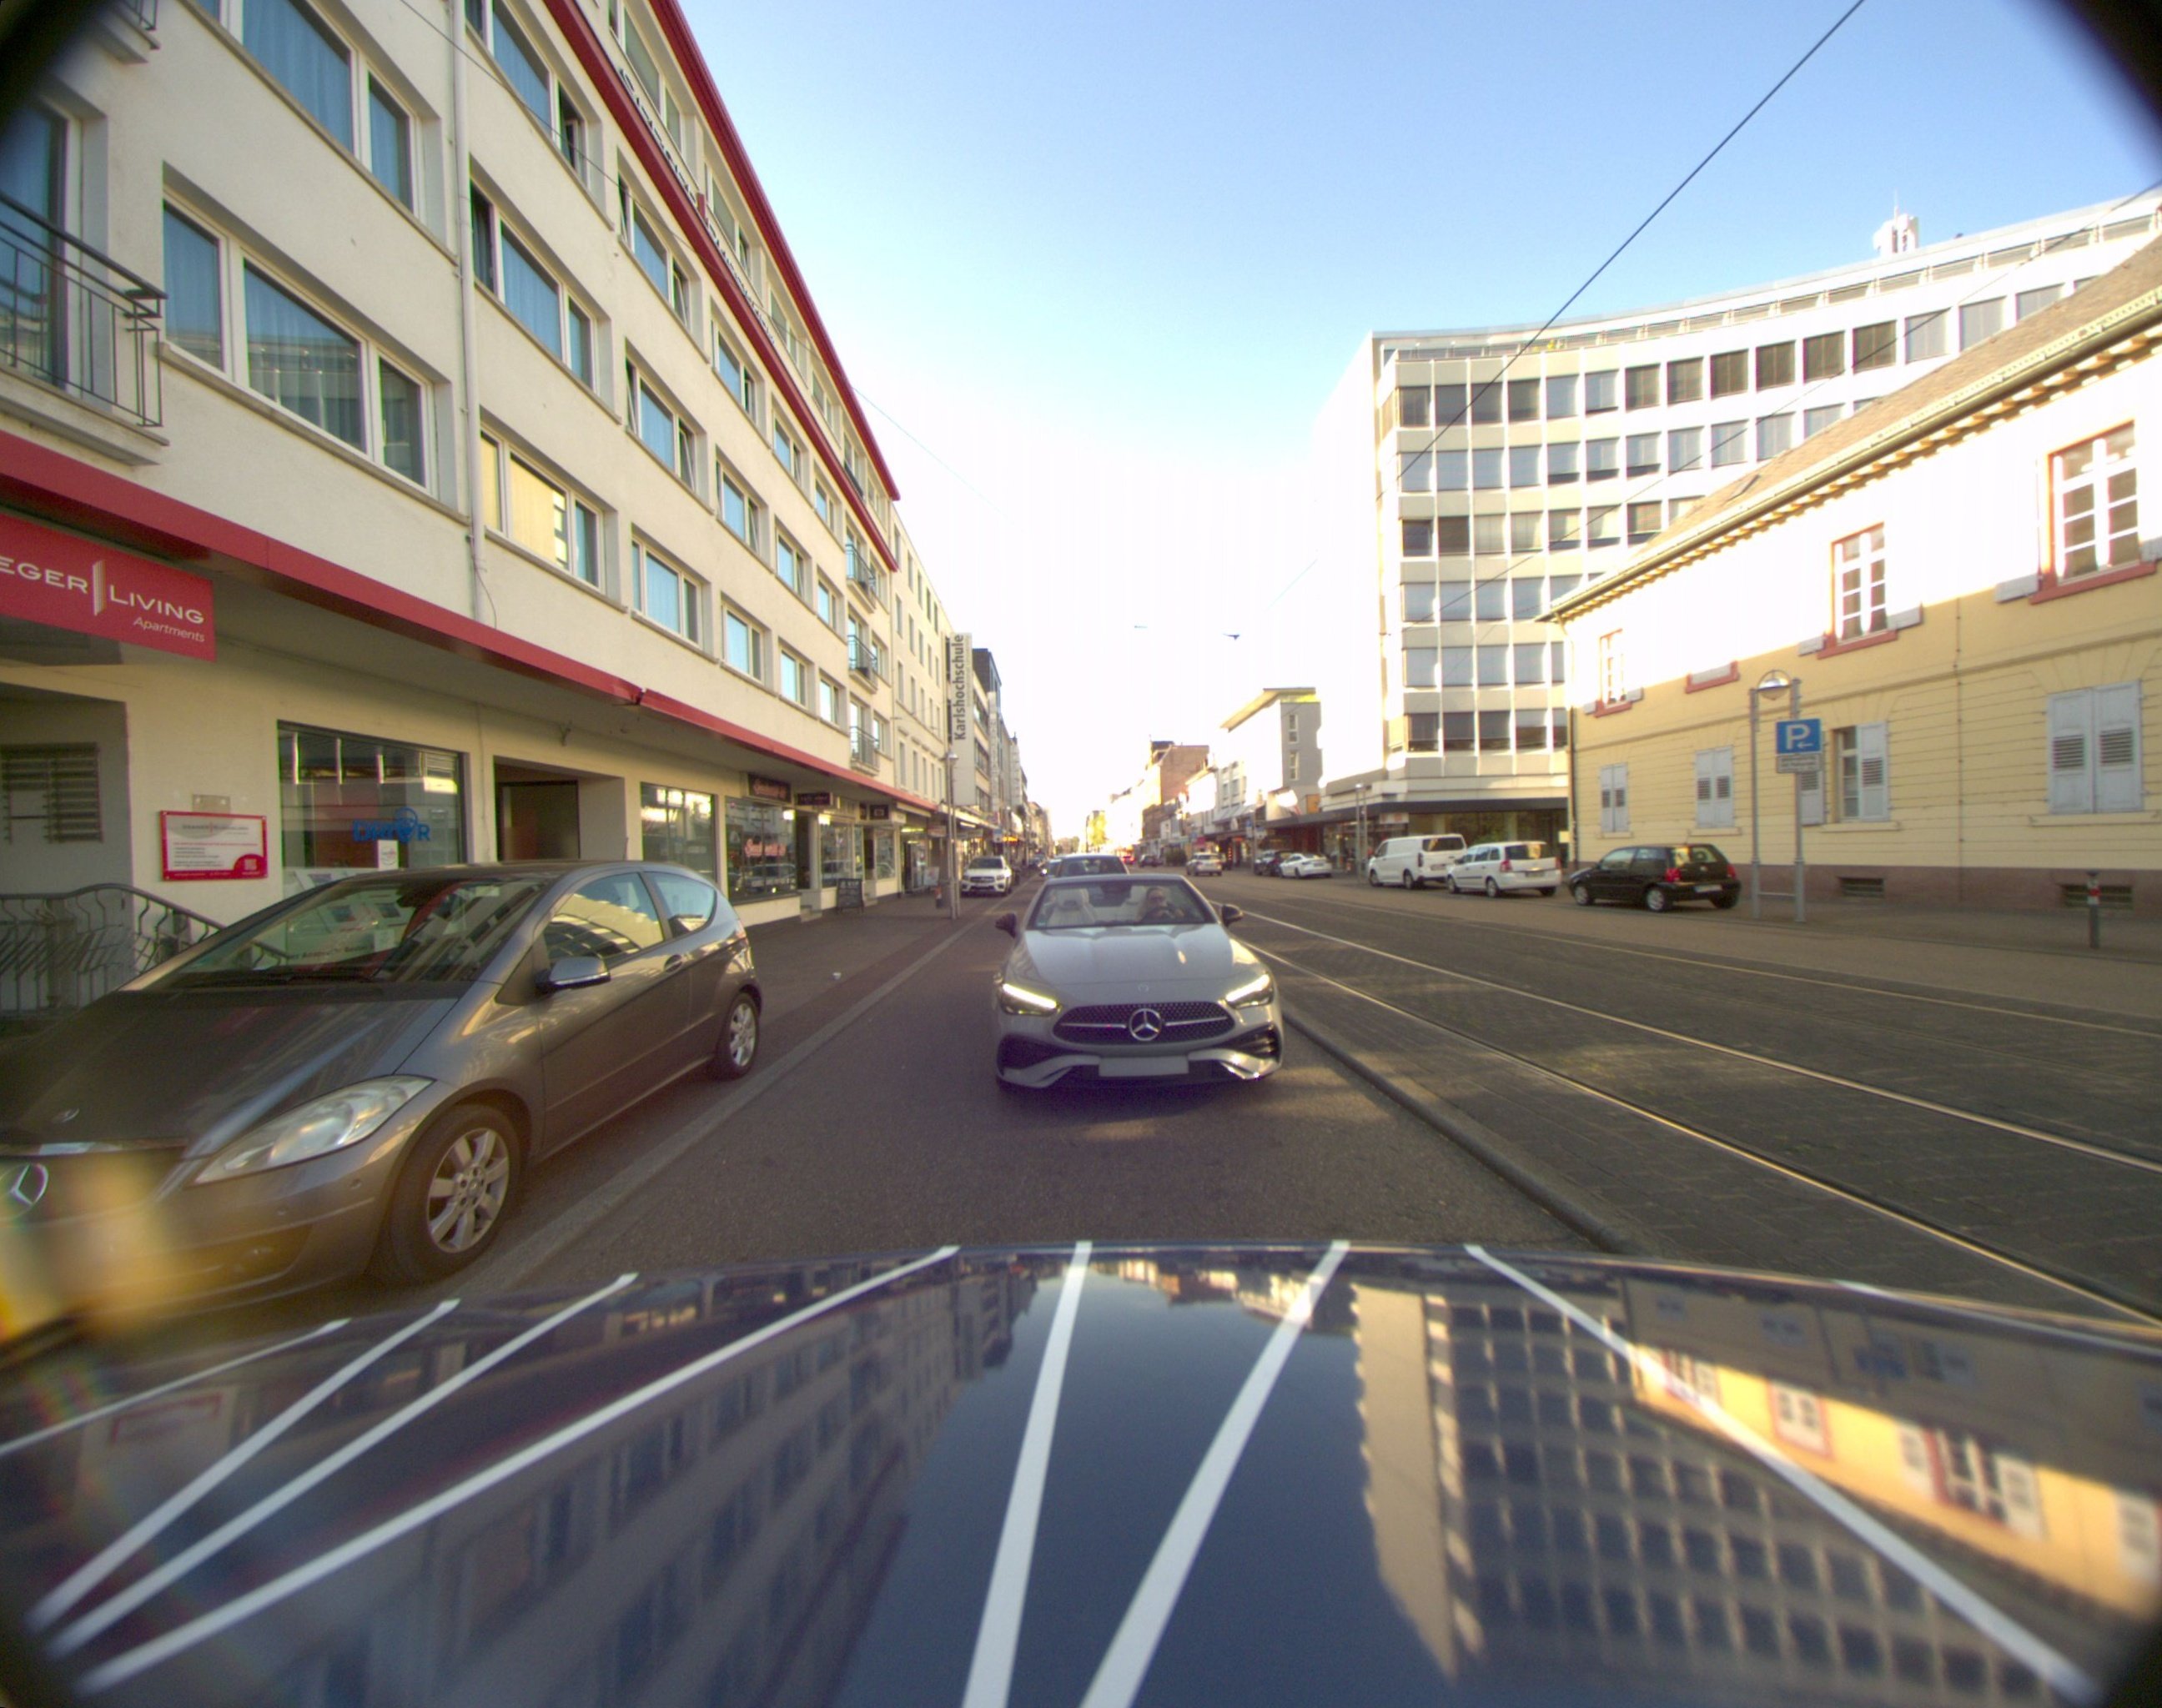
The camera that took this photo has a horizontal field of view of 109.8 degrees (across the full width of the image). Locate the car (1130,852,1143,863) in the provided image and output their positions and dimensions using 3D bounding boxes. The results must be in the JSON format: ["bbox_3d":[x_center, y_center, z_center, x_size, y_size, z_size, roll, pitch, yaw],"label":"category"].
[{"bbox_3d":[10.028,0.640,137.615,1.999,2.002,3.999,-1,0,-2],"label":"car"}]

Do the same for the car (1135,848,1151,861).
[{"bbox_3d":[9.958,0.040,122.220,1.999,2.002,5.320,-1,0,-2],"label":"car"}]

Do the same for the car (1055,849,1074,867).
[{"bbox_3d":[-1.783,0.413,83.921,1.999,1.793,3.999,-2,1,-1],"label":"car"}]

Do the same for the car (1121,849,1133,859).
[{"bbox_3d":[9.542,-0.027,157.330,1.999,2.002,3.999,-1,0,-2],"label":"car"}]

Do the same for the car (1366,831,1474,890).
[{"bbox_3d":[12.677,0.230,28.783,2.040,2.002,4.621,-1,0,1],"label":"car"}]

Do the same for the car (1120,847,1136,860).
[{"bbox_3d":[7.081,-0.148,114.505,1.914,1.883,3.855,-2,1,-2],"label":"car"}]

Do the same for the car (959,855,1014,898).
[{"bbox_3d":[-3.852,0.884,31.713,1.999,1.620,3.998,-1,0,-4],"label":"car"}]

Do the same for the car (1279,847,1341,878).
[{"bbox_3d":[12.625,0.419,42.234,1.999,1.521,4.373,-2,1,-1],"label":"car"}]

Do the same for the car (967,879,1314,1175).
[{"bbox_3d":[0.199,1.008,6.191,1.884,1.375,3.998,-2,1,-4],"label":"car"}]

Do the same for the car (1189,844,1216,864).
[{"bbox_3d":[11.843,-0.016,74.129,1.790,1.870,3.999,-1,0,-3],"label":"car"}]

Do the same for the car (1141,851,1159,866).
[{"bbox_3d":[7.978,0.516,88.289,1.964,1.499,4.000,-2,1,4],"label":"car"}]

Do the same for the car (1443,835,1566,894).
[{"bbox_3d":[12.734,0.268,23.134,1.641,1.600,4.005,-2,1,3],"label":"car"}]

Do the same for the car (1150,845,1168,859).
[{"bbox_3d":[11.460,-0.325,111.454,1.999,2.002,3.998,-2,1,-2],"label":"car"}]

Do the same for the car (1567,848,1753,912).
[{"bbox_3d":[12.879,0.524,17.142,1.688,1.246,3.212,-2,1,-1],"label":"car"}]

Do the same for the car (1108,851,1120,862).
[{"bbox_3d":[6.609,0.424,150.633,1.999,2.002,3.998,-2,1,-2],"label":"car"}]

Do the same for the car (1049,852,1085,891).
[{"bbox_3d":[-0.668,0.783,36.275,1.573,1.670,3.688,-2,1,-1],"label":"car"}]

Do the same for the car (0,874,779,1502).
[{"bbox_3d":[-3.214,0.949,3.977,1.683,1.537,3.999,-2,0,-1],"label":"car"}]

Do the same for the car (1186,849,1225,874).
[{"bbox_3d":[8.371,0.459,51.381,1.760,1.587,3.999,-1,0,-2],"label":"car"}]

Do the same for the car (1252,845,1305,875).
[{"bbox_3d":[12.325,0.360,47.679,1.999,1.694,4.107,-3,1,-2],"label":"car"}]

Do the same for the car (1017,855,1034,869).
[{"bbox_3d":[-6.177,0.919,85.011,1.714,1.430,3.756,-2,1,-1],"label":"car"}]

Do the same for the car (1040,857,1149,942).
[{"bbox_3d":[0.156,0.863,16.452,1.927,1.533,3.998,-2,0,-4],"label":"car"}]

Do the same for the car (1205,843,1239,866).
[{"bbox_3d":[12.054,-0.011,65.250,1.999,1.849,3.998,-2,1,-2],"label":"car"}]

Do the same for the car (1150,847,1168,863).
[{"bbox_3d":[10.290,0.079,100.895,1.998,2.002,4.000,-1,0,1],"label":"car"}]

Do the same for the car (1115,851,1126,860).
[{"bbox_3d":[9.118,0.334,176.632,2.148,1.850,3.998,-2,1,-2],"label":"car"}]

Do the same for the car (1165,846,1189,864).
[{"bbox_3d":[11.389,0.119,90.422,2.200,2.030,3.999,-1,0,-1],"label":"car"}]

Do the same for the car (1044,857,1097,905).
[{"bbox_3d":[-0.395,0.888,26.588,1.648,1.506,3.844,-2,0,-2],"label":"car"}]
